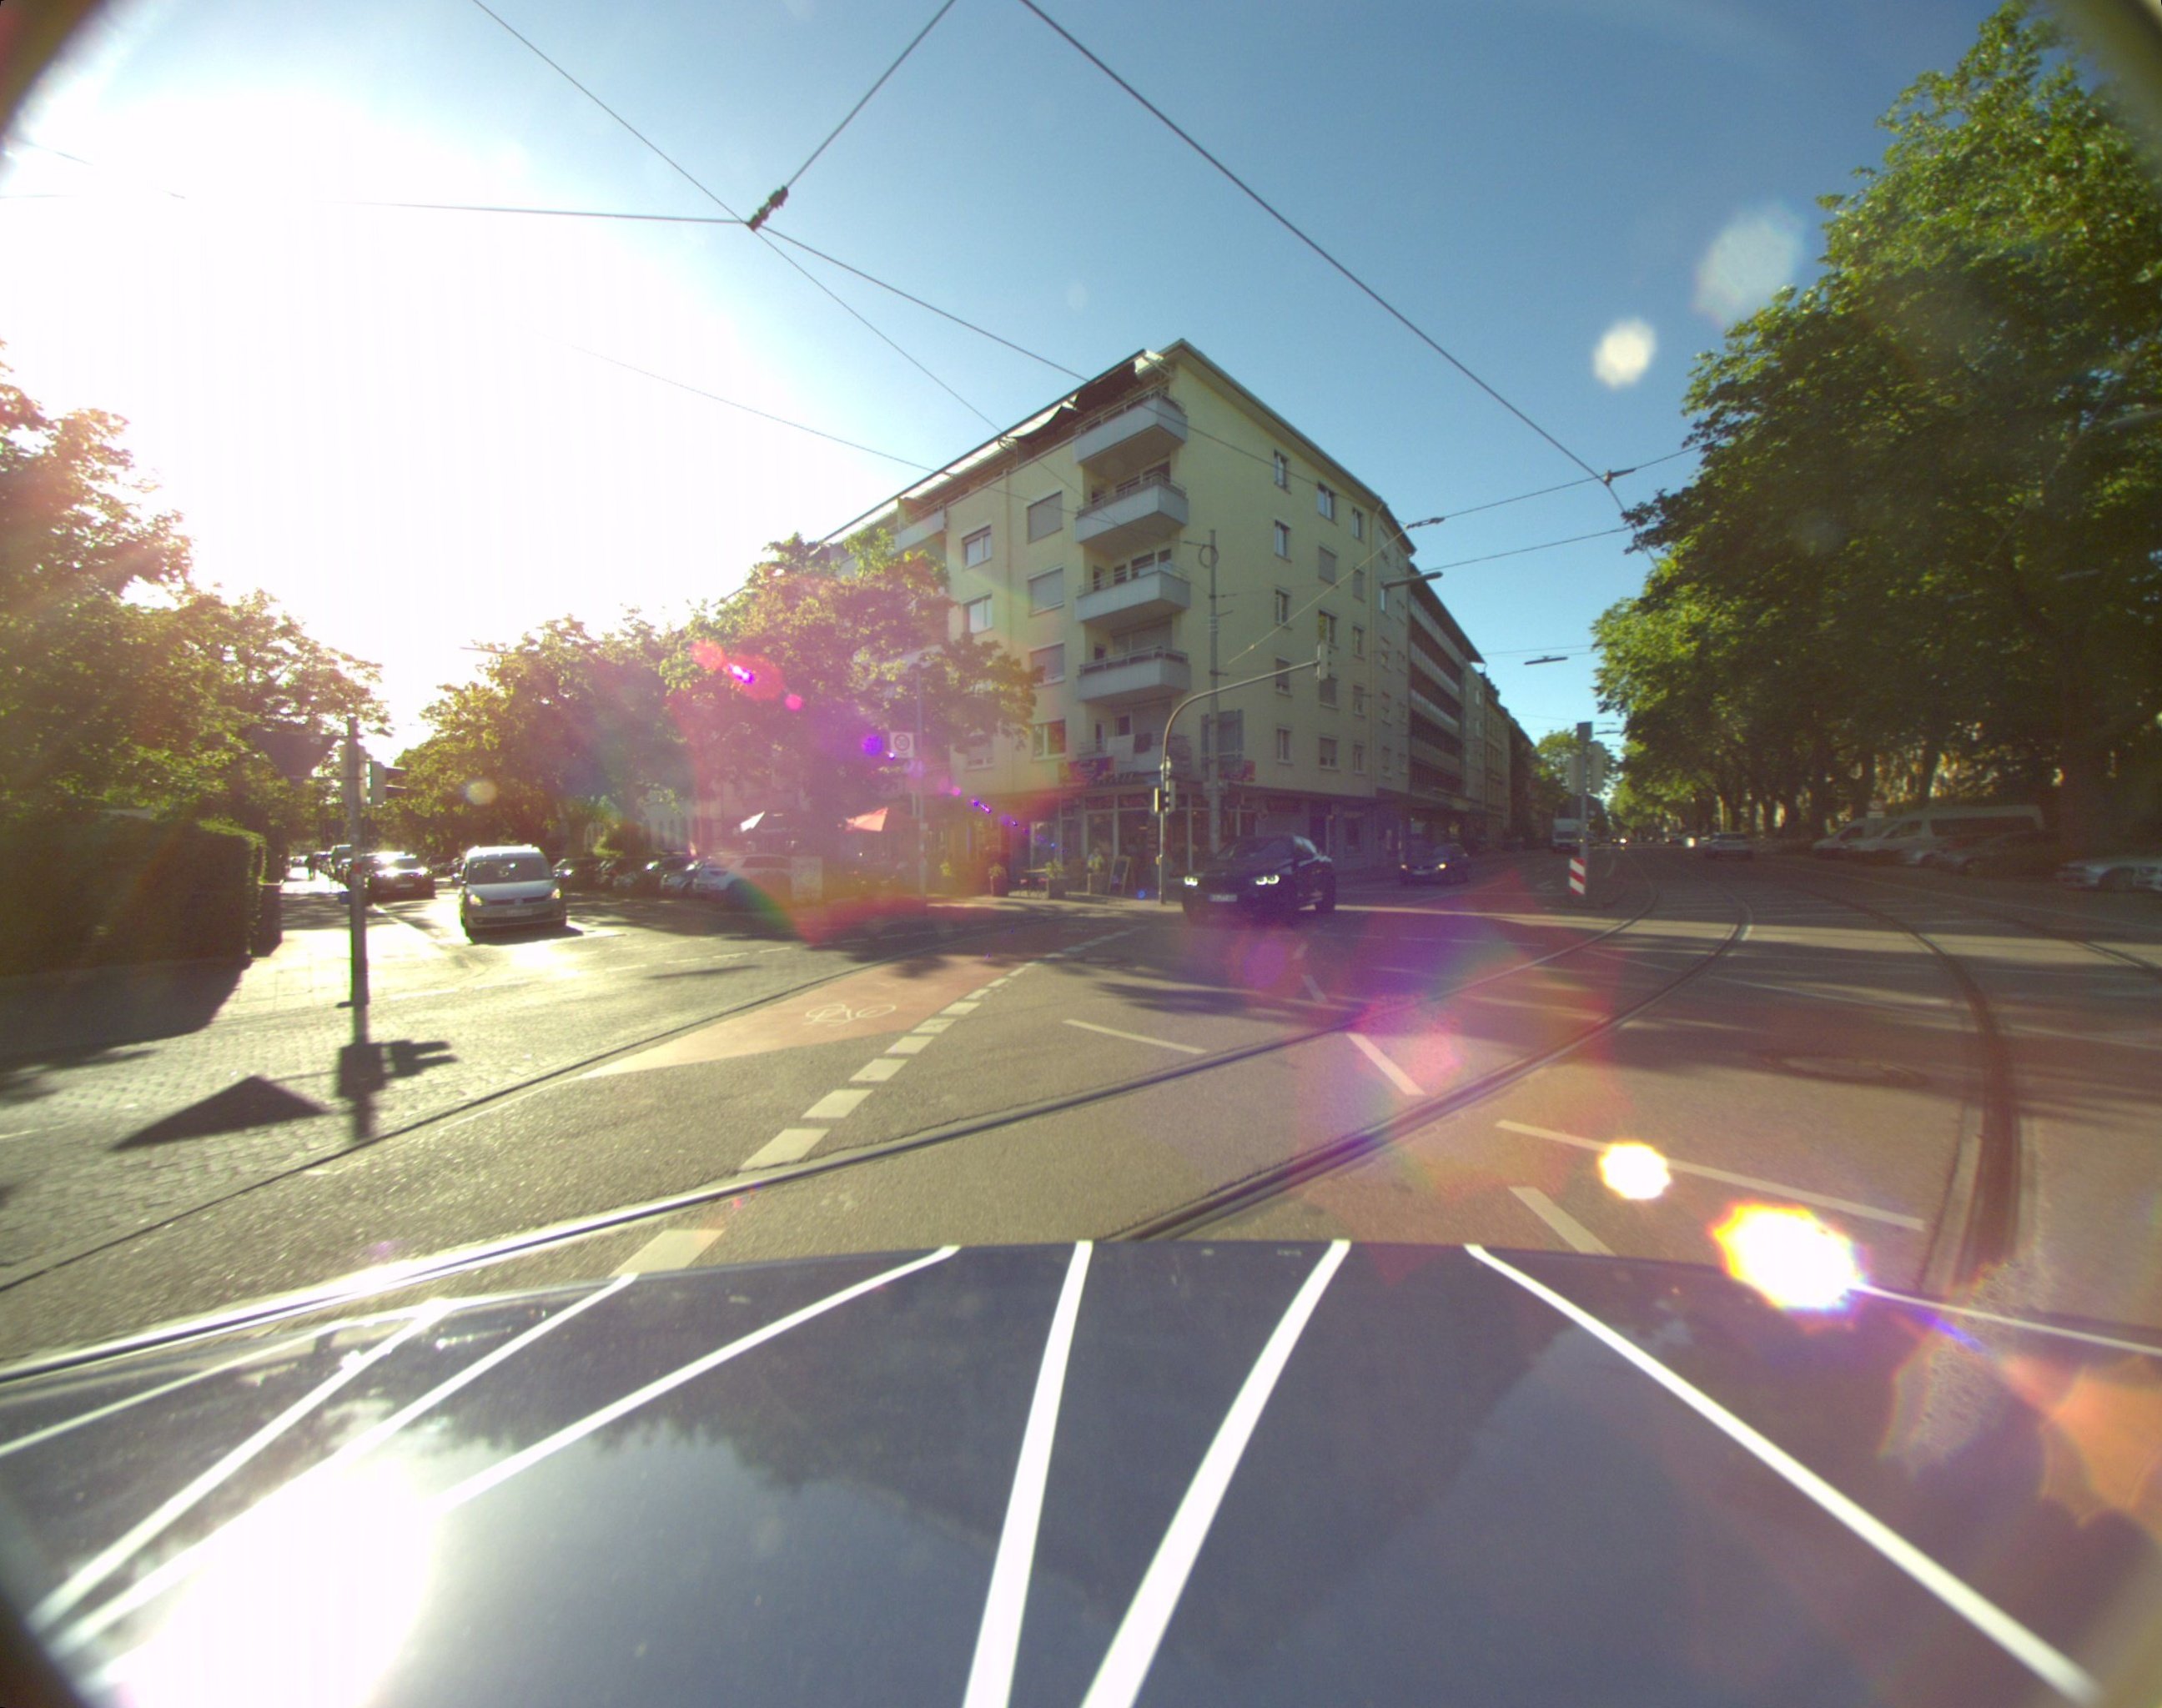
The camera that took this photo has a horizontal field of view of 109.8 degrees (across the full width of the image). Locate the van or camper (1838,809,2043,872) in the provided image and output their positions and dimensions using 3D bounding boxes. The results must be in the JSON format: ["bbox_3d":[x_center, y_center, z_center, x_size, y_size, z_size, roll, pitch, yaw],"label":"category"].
[{"bbox_3d":[39.116,-0.557,34.898,5.919,2.633,2.160,-2,1,37],"label":"van or camper"}]

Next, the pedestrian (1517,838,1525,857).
[{"bbox_3d":[38.845,-0.543,67.086,0.539,1.662,0.631,0,1,38],"label":"pedestrian"}]

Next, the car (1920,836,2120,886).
[{"bbox_3d":[32.543,0.262,26.549,4.072,1.610,1.848,-2,1,39],"label":"car"}]

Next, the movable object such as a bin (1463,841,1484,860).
[{"bbox_3d":[30.157,-0.266,58.426,1.201,1.402,1.375,0,1,38],"label":"movable object such as a bin"}]

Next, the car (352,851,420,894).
[{"bbox_3d":[-31.554,0.790,34.443,4.315,1.805,2.004,0,1,44],"label":"car"}]

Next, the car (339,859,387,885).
[{"bbox_3d":[-45.080,1.099,47.693,3.988,1.521,2.004,0,1,44],"label":"car"}]

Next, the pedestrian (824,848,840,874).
[{"bbox_3d":[-12.763,0.358,38.895,0.572,1.352,0.672,-1,1,-34],"label":"pedestrian"}]

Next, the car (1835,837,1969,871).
[{"bbox_3d":[42.878,0.033,39.854,4.531,1.624,1.697,-2,1,39],"label":"car"}]

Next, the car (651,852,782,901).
[{"bbox_3d":[-13.134,0.755,27.528,1.711,1.608,3.879,0,1,41],"label":"car"}]

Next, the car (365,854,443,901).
[{"bbox_3d":[-27.137,0.878,30.419,3.988,1.718,2.004,0,1,44],"label":"car"}]

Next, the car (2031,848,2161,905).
[{"bbox_3d":[27.345,0.542,19.055,4.072,1.361,1.848,-2,1,39],"label":"car"}]

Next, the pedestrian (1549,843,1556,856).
[{"bbox_3d":[49.960,-0.487,80.459,0.539,1.437,0.631,0,1,38],"label":"pedestrian"}]

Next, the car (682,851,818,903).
[{"bbox_3d":[-11.318,0.743,26.169,1.711,1.608,3.912,0,1,41],"label":"car"}]

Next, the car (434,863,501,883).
[{"bbox_3d":[-49.030,1.473,60.737,1.711,1.472,3.879,0,1,41],"label":"car"}]

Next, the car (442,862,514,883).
[{"bbox_3d":[-44.979,1.350,56.732,1.711,1.472,3.879,0,1,41],"label":"car"}]

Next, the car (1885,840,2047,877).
[{"bbox_3d":[37.711,0.211,32.554,4.267,1.438,1.697,-2,1,39],"label":"car"}]

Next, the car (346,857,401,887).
[{"bbox_3d":[-39.114,0.965,41.966,3.988,1.521,2.004,0,1,44],"label":"car"}]

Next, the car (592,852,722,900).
[{"bbox_3d":[-15.834,0.768,28.493,1.711,1.608,3.879,0,1,41],"label":"car"}]

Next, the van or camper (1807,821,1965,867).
[{"bbox_3d":[44.731,-0.533,42.473,5.751,2.371,2.160,-2,1,37],"label":"van or camper"}]

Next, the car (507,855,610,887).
[{"bbox_3d":[-25.916,0.810,37.785,1.711,1.472,3.879,0,1,41],"label":"car"}]

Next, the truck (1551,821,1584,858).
[{"bbox_3d":[43.125,-1.312,67.275,2.339,3.095,5.222,-2,1,33],"label":"truck"}]

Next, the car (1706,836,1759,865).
[{"bbox_3d":[38.084,-0.222,44.515,1.994,1.622,4.640,0,1,36],"label":"car"}]

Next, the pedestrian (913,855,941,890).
[{"bbox_3d":[-5.553,0.665,27.403,0.738,1.211,0.662,0,1,43],"label":"pedestrian"}]

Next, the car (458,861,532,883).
[{"bbox_3d":[-41.622,1.250,54.047,1.711,1.472,3.879,0,1,41],"label":"car"}]

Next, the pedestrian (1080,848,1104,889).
[{"bbox_3d":[0.365,0.474,25.318,0.492,1.334,0.608,1,2,44],"label":"pedestrian"}]

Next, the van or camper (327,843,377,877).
[{"bbox_3d":[-51.635,0.396,53.783,5.000,2.324,2.376,0,1,44],"label":"van or camper"}]

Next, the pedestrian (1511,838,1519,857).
[{"bbox_3d":[39.385,-0.552,69.022,0.539,1.712,0.631,0,1,38],"label":"pedestrian"}]

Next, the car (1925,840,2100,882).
[{"bbox_3d":[34.534,0.268,28.343,3.853,1.438,1.697,-2,1,39],"label":"car"}]

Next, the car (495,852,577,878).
[{"bbox_3d":[-34.193,0.660,47.716,1.711,1.472,3.879,0,1,41],"label":"car"}]

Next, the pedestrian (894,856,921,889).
[{"bbox_3d":[-6.440,0.668,28.167,0.738,1.211,0.662,0,1,43],"label":"pedestrian"}]

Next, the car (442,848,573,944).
[{"bbox_3d":[-12.970,0.816,17.086,1.809,1.804,4.177,-5,4,-43],"label":"car"}]

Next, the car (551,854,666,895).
[{"bbox_3d":[-20.486,0.831,33.048,1.711,1.608,3.879,0,1,41],"label":"car"}]

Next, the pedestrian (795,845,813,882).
[{"bbox_3d":[-13.700,0.457,37.546,0.675,1.801,0.537,-2,1,-42],"label":"pedestrian"}]

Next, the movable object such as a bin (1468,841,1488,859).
[{"bbox_3d":[31.354,-0.323,60.032,1.201,1.402,1.375,0,1,38],"label":"movable object such as a bin"}]

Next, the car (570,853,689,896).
[{"bbox_3d":[-18.667,0.787,31.559,1.711,1.608,3.879,0,1,41],"label":"car"}]

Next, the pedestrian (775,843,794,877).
[{"bbox_3d":[-15.064,0.293,38.645,0.724,1.699,0.537,-2,1,-42],"label":"pedestrian"}]

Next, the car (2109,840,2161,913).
[{"bbox_3d":[26.130,0.456,16.567,4.072,1.602,1.848,-2,1,39],"label":"car"}]

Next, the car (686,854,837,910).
[{"bbox_3d":[-10.009,0.804,24.048,1.705,1.572,4.044,0,1,40],"label":"car"}]

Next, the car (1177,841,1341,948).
[{"bbox_3d":[3.751,0.647,15.346,1.926,1.743,4.692,1,2,30],"label":"car"}]

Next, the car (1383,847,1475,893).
[{"bbox_3d":[12.320,0.534,26.787,1.926,1.397,3.947,-2,1,40],"label":"car"}]

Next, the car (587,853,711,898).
[{"bbox_3d":[-16.930,0.795,29.925,1.711,1.608,3.879,0,1,41],"label":"car"}]
